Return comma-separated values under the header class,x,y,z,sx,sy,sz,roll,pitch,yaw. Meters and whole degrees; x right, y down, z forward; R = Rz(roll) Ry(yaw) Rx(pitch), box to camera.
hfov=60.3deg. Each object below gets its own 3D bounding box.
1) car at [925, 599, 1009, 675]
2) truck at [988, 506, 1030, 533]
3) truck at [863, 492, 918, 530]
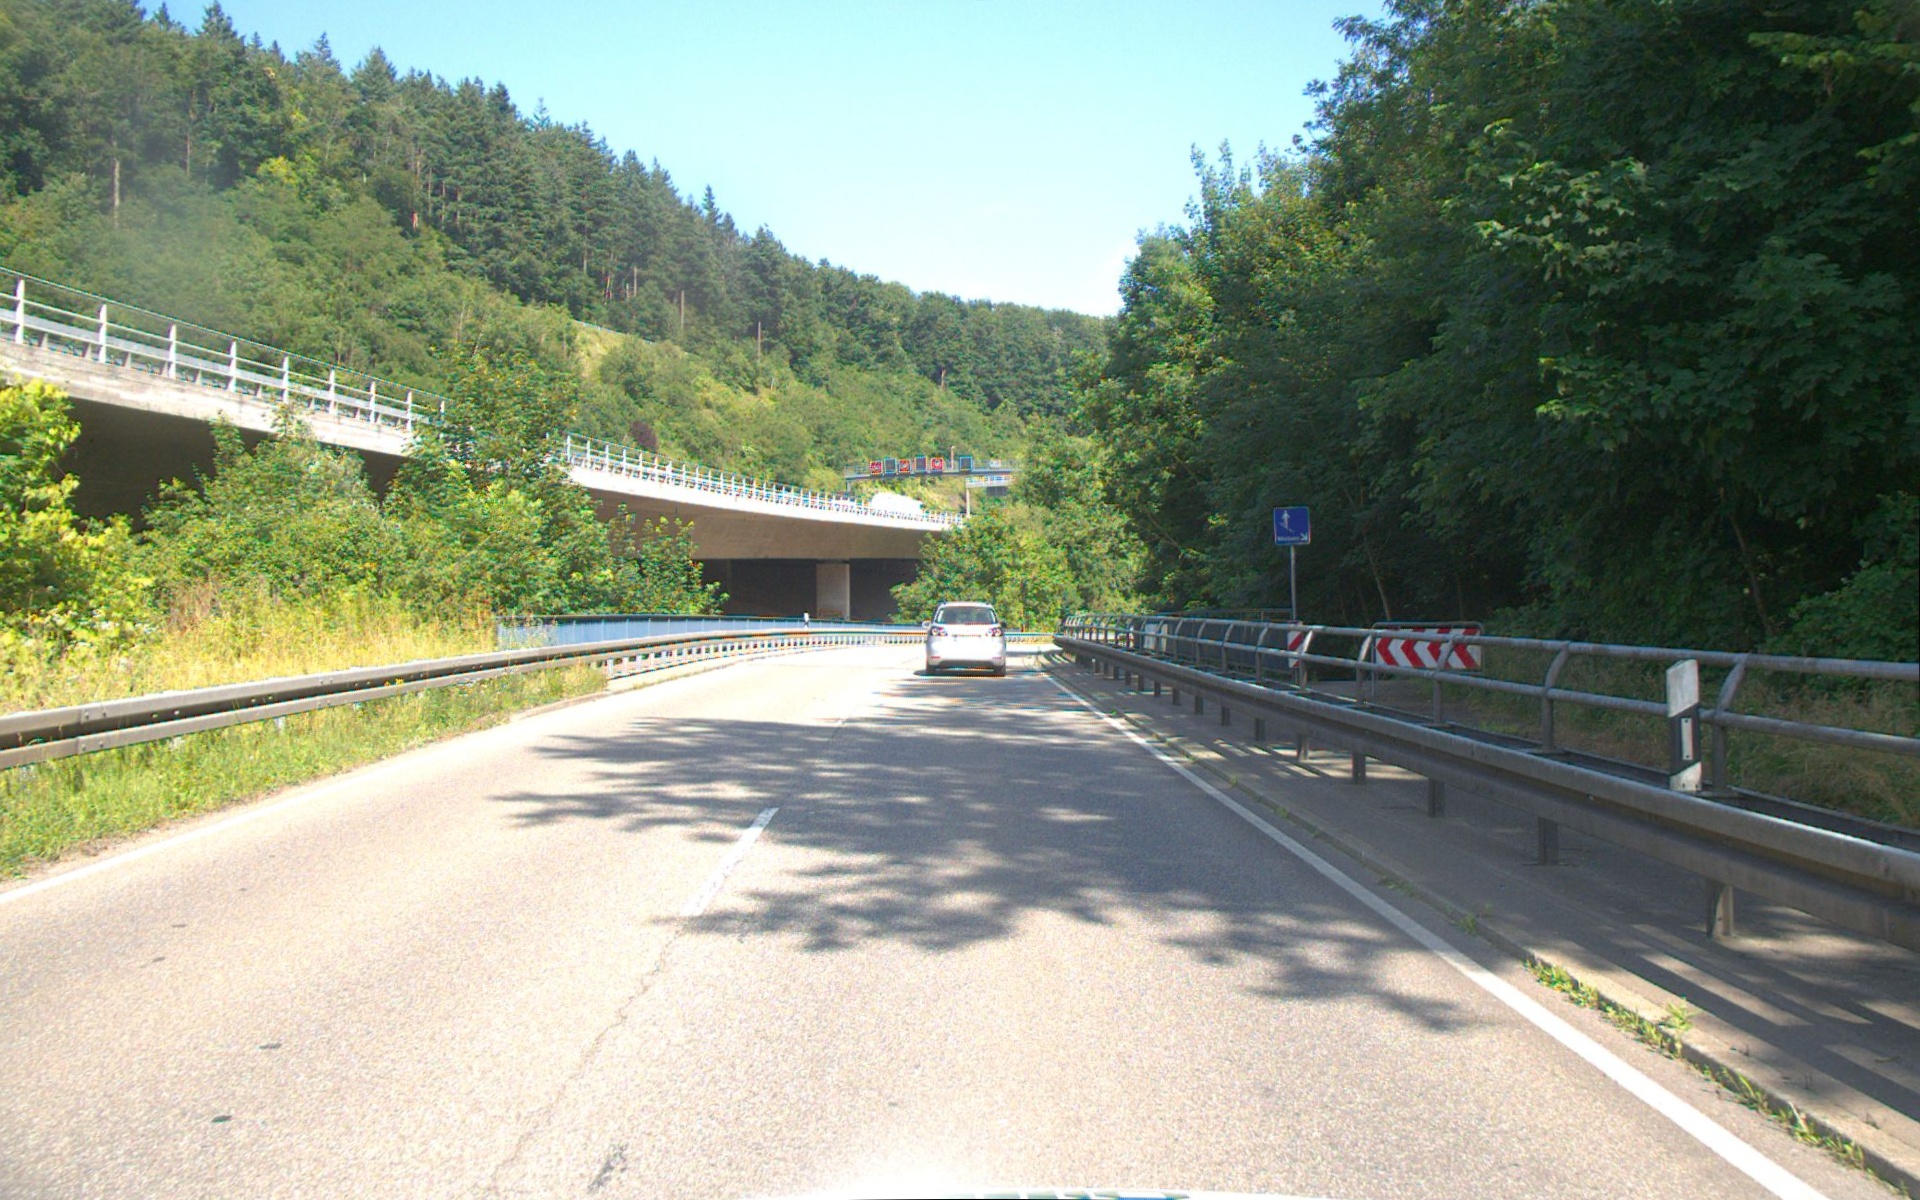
class,x,y,z,sx,sy,sz,roll,pitch,yaw
car,0.128,0.765,36.250,1.715,1.546,4.159,1,0,0
truck,6.881,-11.203,230.565,3.679,3.444,10.516,1,1,14
truck,-7.026,-9.059,169.472,3.298,3.413,10.185,1,1,11
